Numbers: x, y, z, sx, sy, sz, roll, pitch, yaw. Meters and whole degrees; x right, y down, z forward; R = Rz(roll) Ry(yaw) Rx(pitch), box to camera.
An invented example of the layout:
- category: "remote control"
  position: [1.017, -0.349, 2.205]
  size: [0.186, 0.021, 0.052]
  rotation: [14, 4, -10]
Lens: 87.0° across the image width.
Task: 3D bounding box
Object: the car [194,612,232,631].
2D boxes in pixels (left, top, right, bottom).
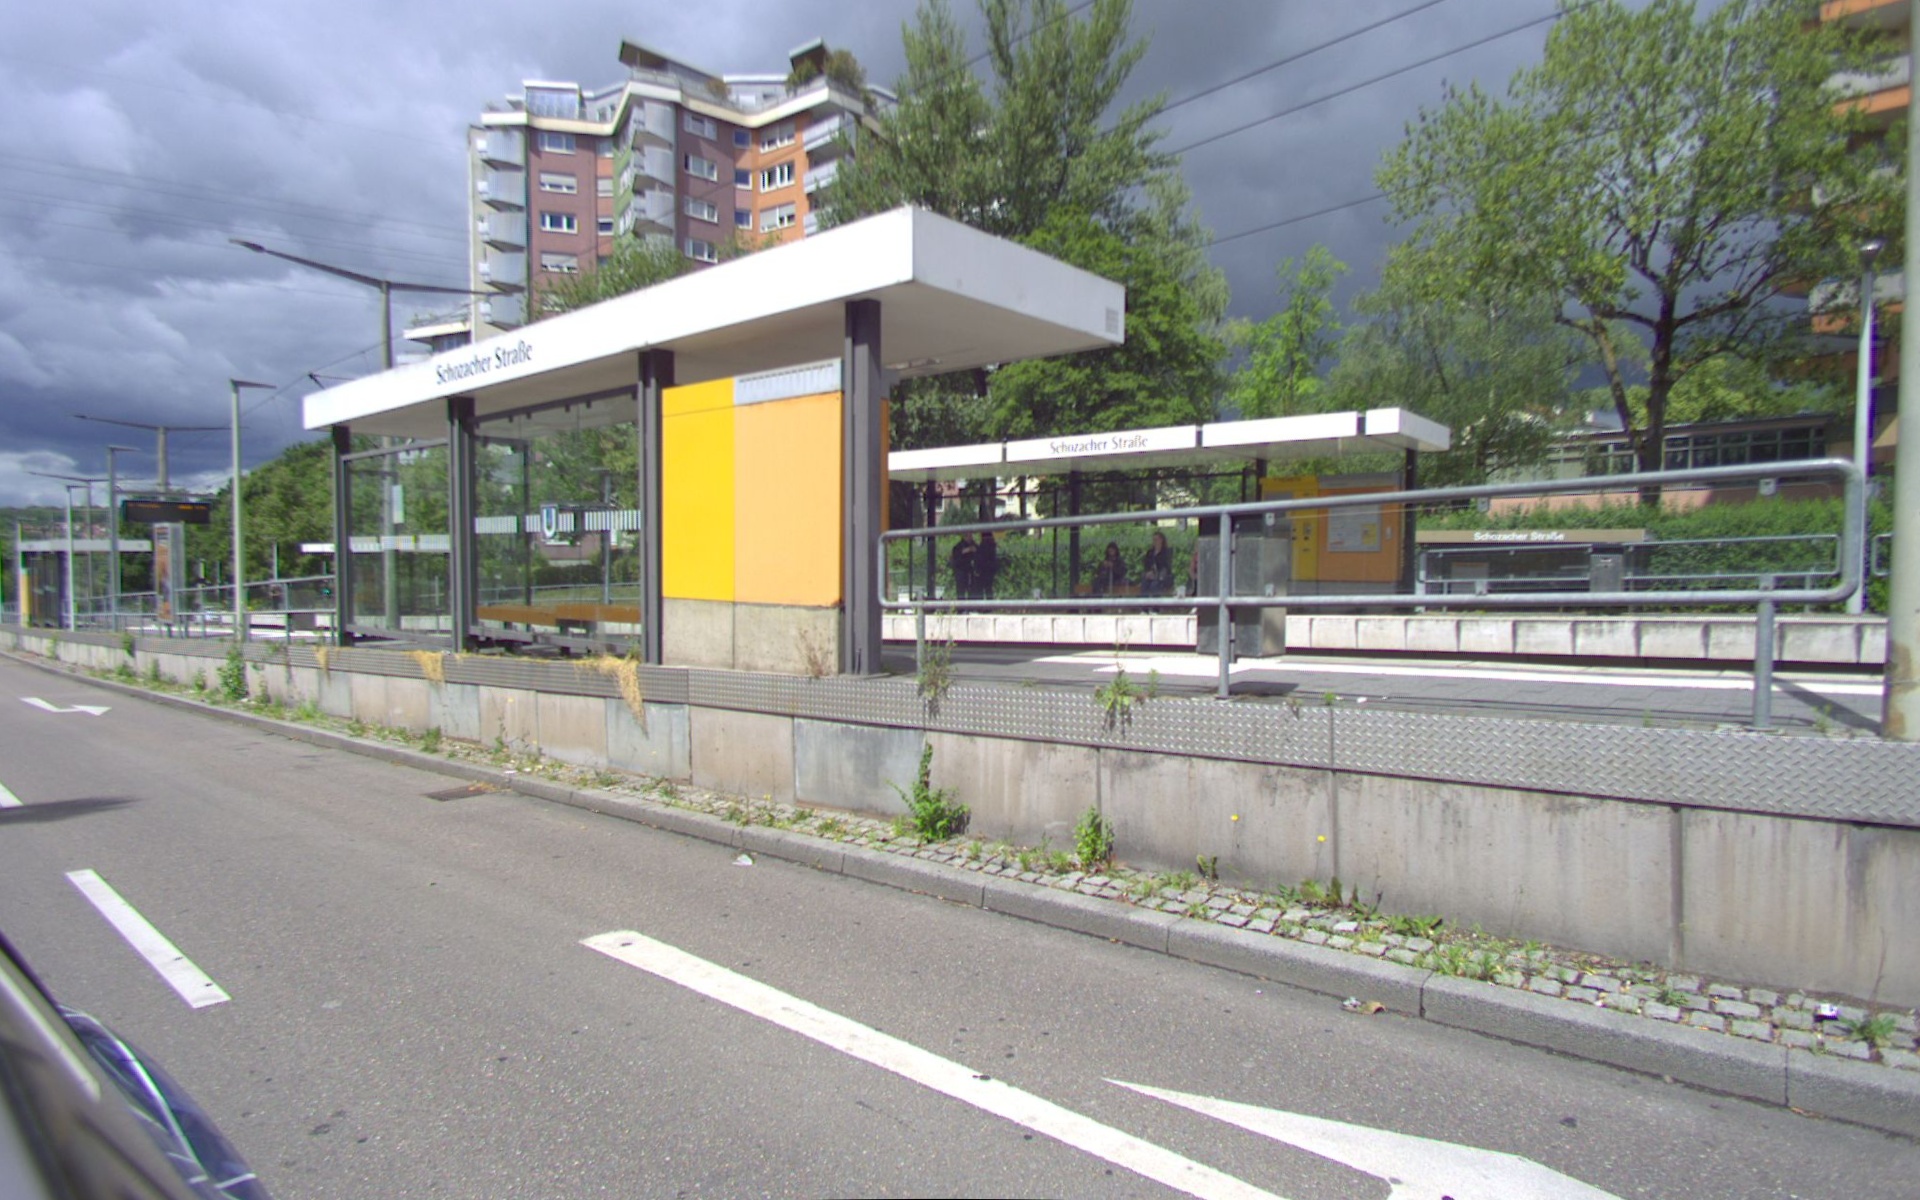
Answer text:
- category: "car"
  position: [-59.626, 1.679, 80.785]
  size: [3.999, 1.429, 1.637]
  rotation: [-1, 0, 42]

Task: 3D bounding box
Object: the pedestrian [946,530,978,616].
- category: "pedestrian"
  position: [0.043, -0.522, 19.849]
  size: [0.558, 1.657, 0.520]
  rotation: [-1, 0, 9]

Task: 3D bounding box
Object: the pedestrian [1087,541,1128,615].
- category: "pedestrian"
  position: [2.515, -0.365, 17.267]
  size: [0.541, 1.246, 0.516]
  rotation: [-1, 0, 29]

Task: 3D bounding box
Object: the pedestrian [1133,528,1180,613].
- category: "pedestrian"
  position: [3.246, -0.478, 16.719]
  size: [0.506, 1.379, 0.637]
  rotation: [-1, -1, 41]

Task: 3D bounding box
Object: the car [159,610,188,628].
- category: "car"
  position: [-71.765, 1.710, 92.330]
  size: [1.635, 1.524, 3.740]
  rotation: [-1, 0, -45]

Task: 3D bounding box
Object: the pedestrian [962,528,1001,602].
- category: "pedestrian"
  position: [0.413, -0.659, 19.312]
  size: [0.520, 1.390, 0.537]
  rotation: [2, 1, 33]

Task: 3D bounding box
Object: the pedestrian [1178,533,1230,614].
- category: "pedestrian"
  position: [3.861, -0.402, 16.020]
  size: [0.517, 1.246, 0.734]
  rotation: [-1, -1, 41]
